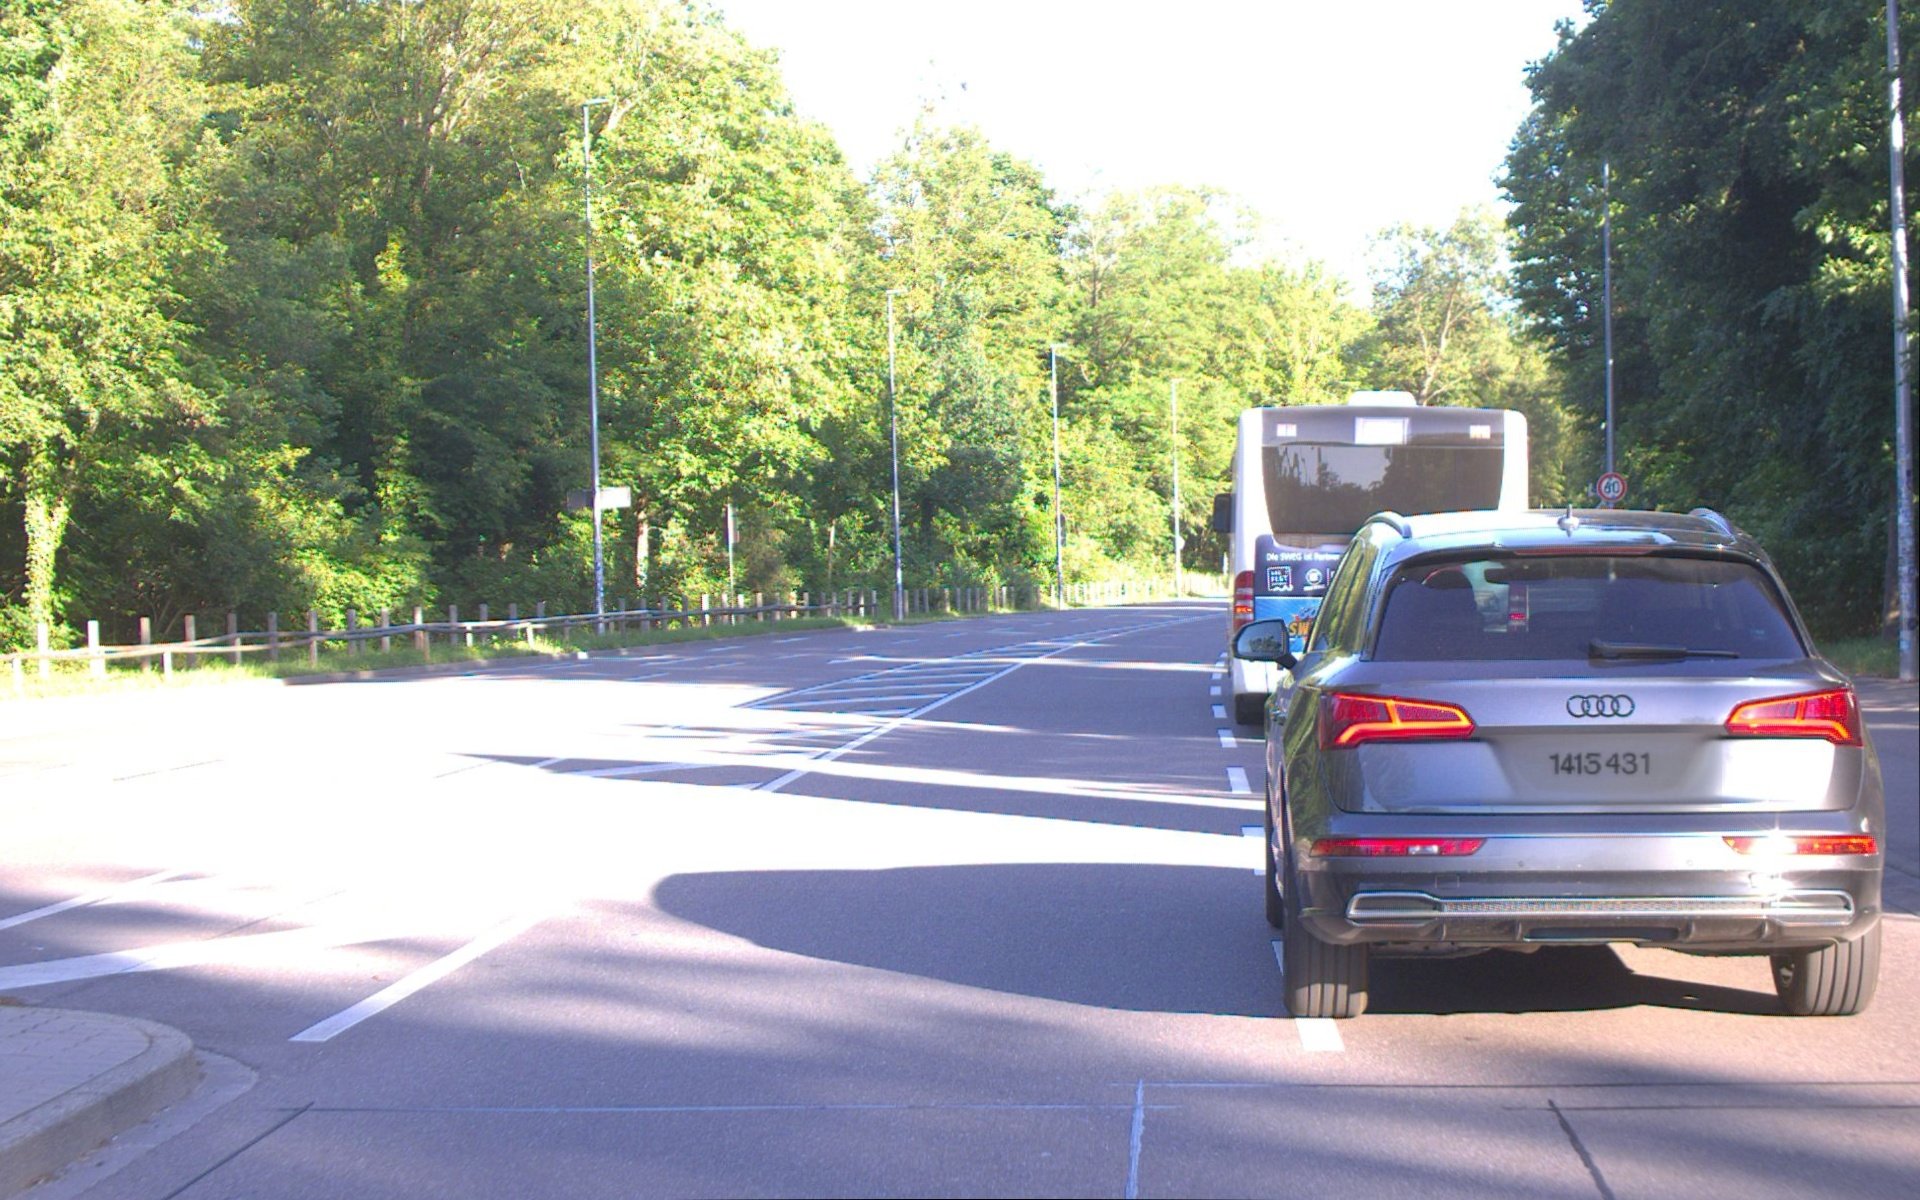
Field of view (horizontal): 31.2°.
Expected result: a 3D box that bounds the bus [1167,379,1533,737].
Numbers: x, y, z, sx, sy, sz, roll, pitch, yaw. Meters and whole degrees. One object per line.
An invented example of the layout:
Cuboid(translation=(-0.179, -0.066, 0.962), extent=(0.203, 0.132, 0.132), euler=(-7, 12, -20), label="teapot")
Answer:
Cuboid(translation=(3.665, -0.413, 35.185), extent=(2.690, 3.032, 12.041), euler=(0, 1, 2), label="bus")

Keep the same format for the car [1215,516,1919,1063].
Cuboid(translation=(1.975, 0.522, 12.361), extent=(1.893, 1.600, 4.544), euler=(0, 1, 2), label="car")
